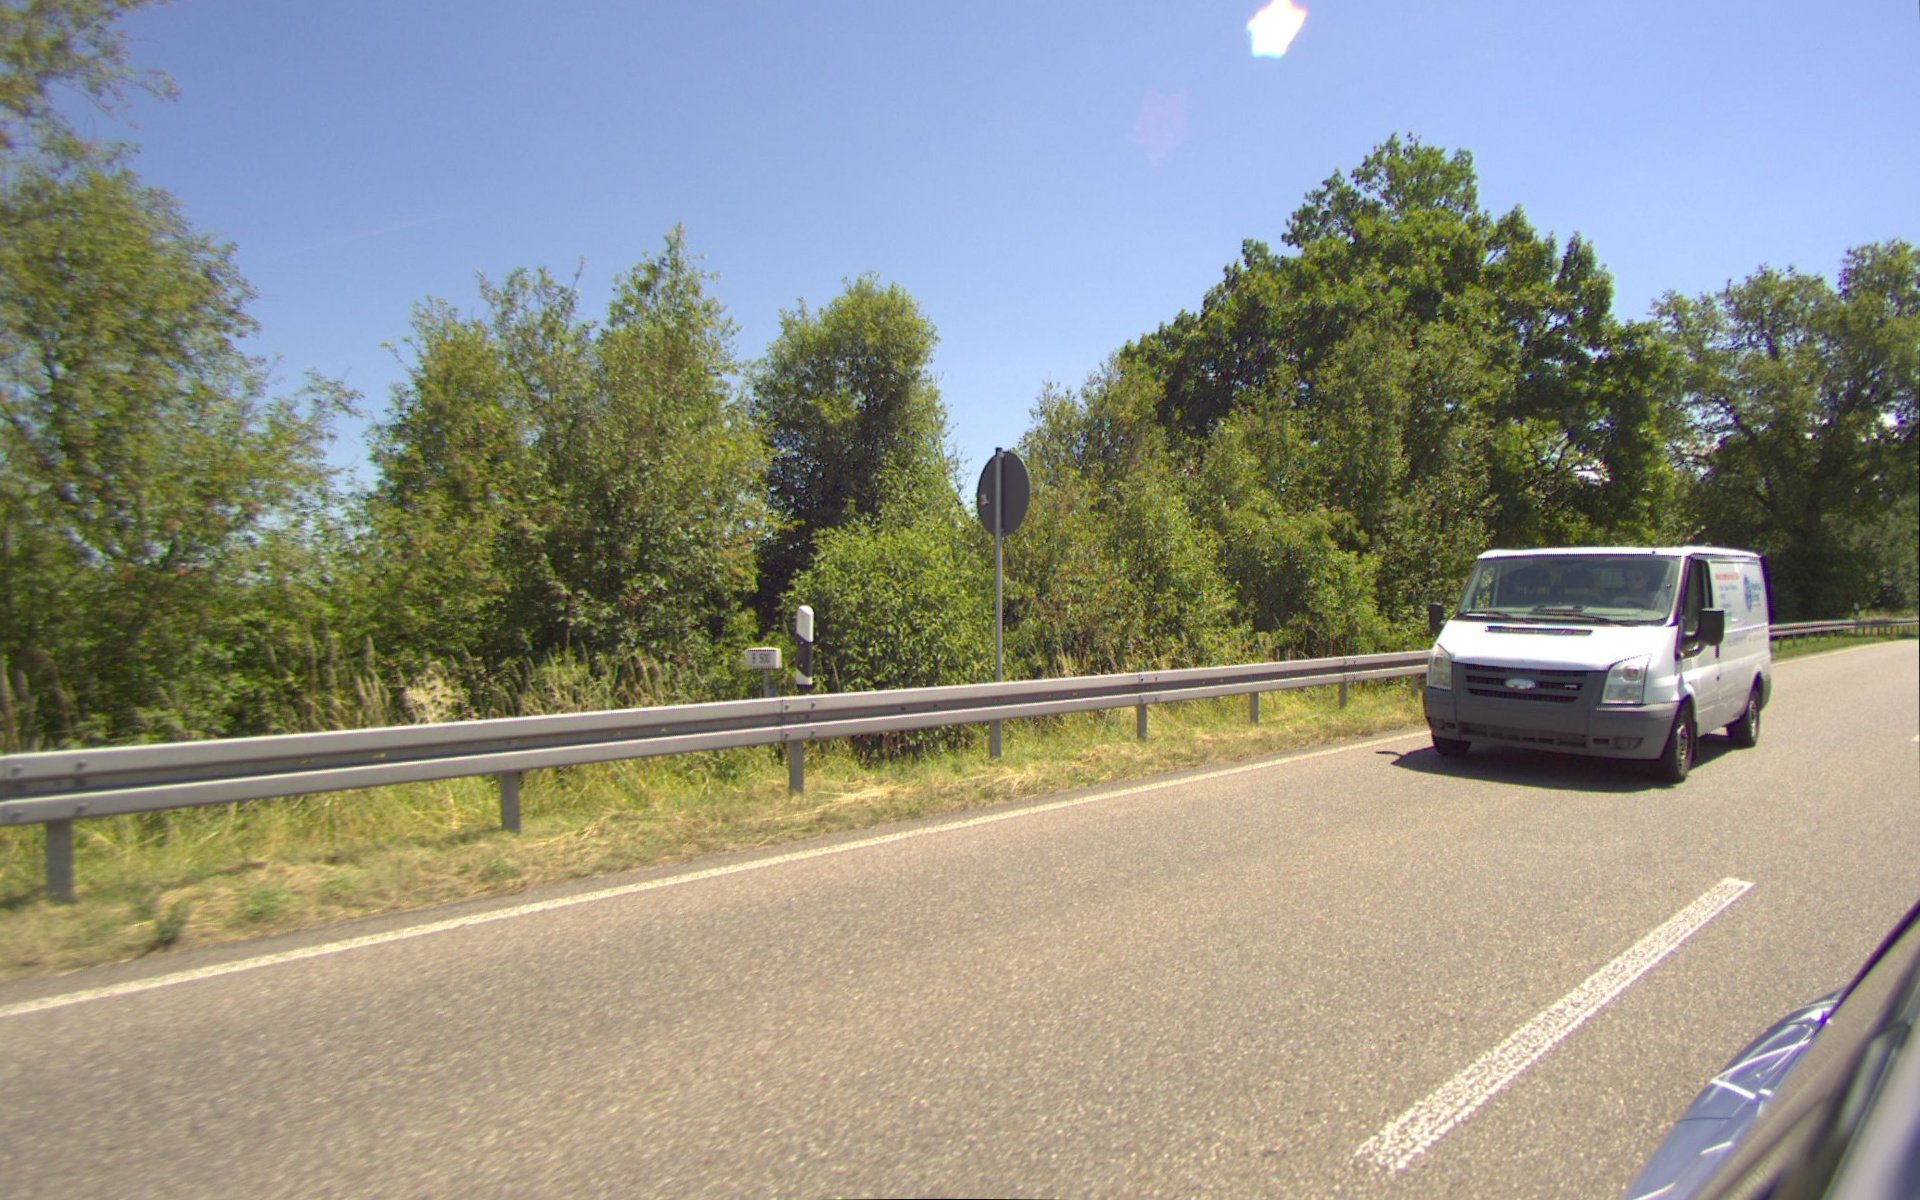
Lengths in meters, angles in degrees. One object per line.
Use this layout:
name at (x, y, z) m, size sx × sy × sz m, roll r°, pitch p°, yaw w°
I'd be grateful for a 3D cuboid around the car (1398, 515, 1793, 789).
car at (6.364, 0.349, 9.852) m, size 4.949 × 2.014 × 2.008 m, roll -1°, pitch 1°, yaw -42°
